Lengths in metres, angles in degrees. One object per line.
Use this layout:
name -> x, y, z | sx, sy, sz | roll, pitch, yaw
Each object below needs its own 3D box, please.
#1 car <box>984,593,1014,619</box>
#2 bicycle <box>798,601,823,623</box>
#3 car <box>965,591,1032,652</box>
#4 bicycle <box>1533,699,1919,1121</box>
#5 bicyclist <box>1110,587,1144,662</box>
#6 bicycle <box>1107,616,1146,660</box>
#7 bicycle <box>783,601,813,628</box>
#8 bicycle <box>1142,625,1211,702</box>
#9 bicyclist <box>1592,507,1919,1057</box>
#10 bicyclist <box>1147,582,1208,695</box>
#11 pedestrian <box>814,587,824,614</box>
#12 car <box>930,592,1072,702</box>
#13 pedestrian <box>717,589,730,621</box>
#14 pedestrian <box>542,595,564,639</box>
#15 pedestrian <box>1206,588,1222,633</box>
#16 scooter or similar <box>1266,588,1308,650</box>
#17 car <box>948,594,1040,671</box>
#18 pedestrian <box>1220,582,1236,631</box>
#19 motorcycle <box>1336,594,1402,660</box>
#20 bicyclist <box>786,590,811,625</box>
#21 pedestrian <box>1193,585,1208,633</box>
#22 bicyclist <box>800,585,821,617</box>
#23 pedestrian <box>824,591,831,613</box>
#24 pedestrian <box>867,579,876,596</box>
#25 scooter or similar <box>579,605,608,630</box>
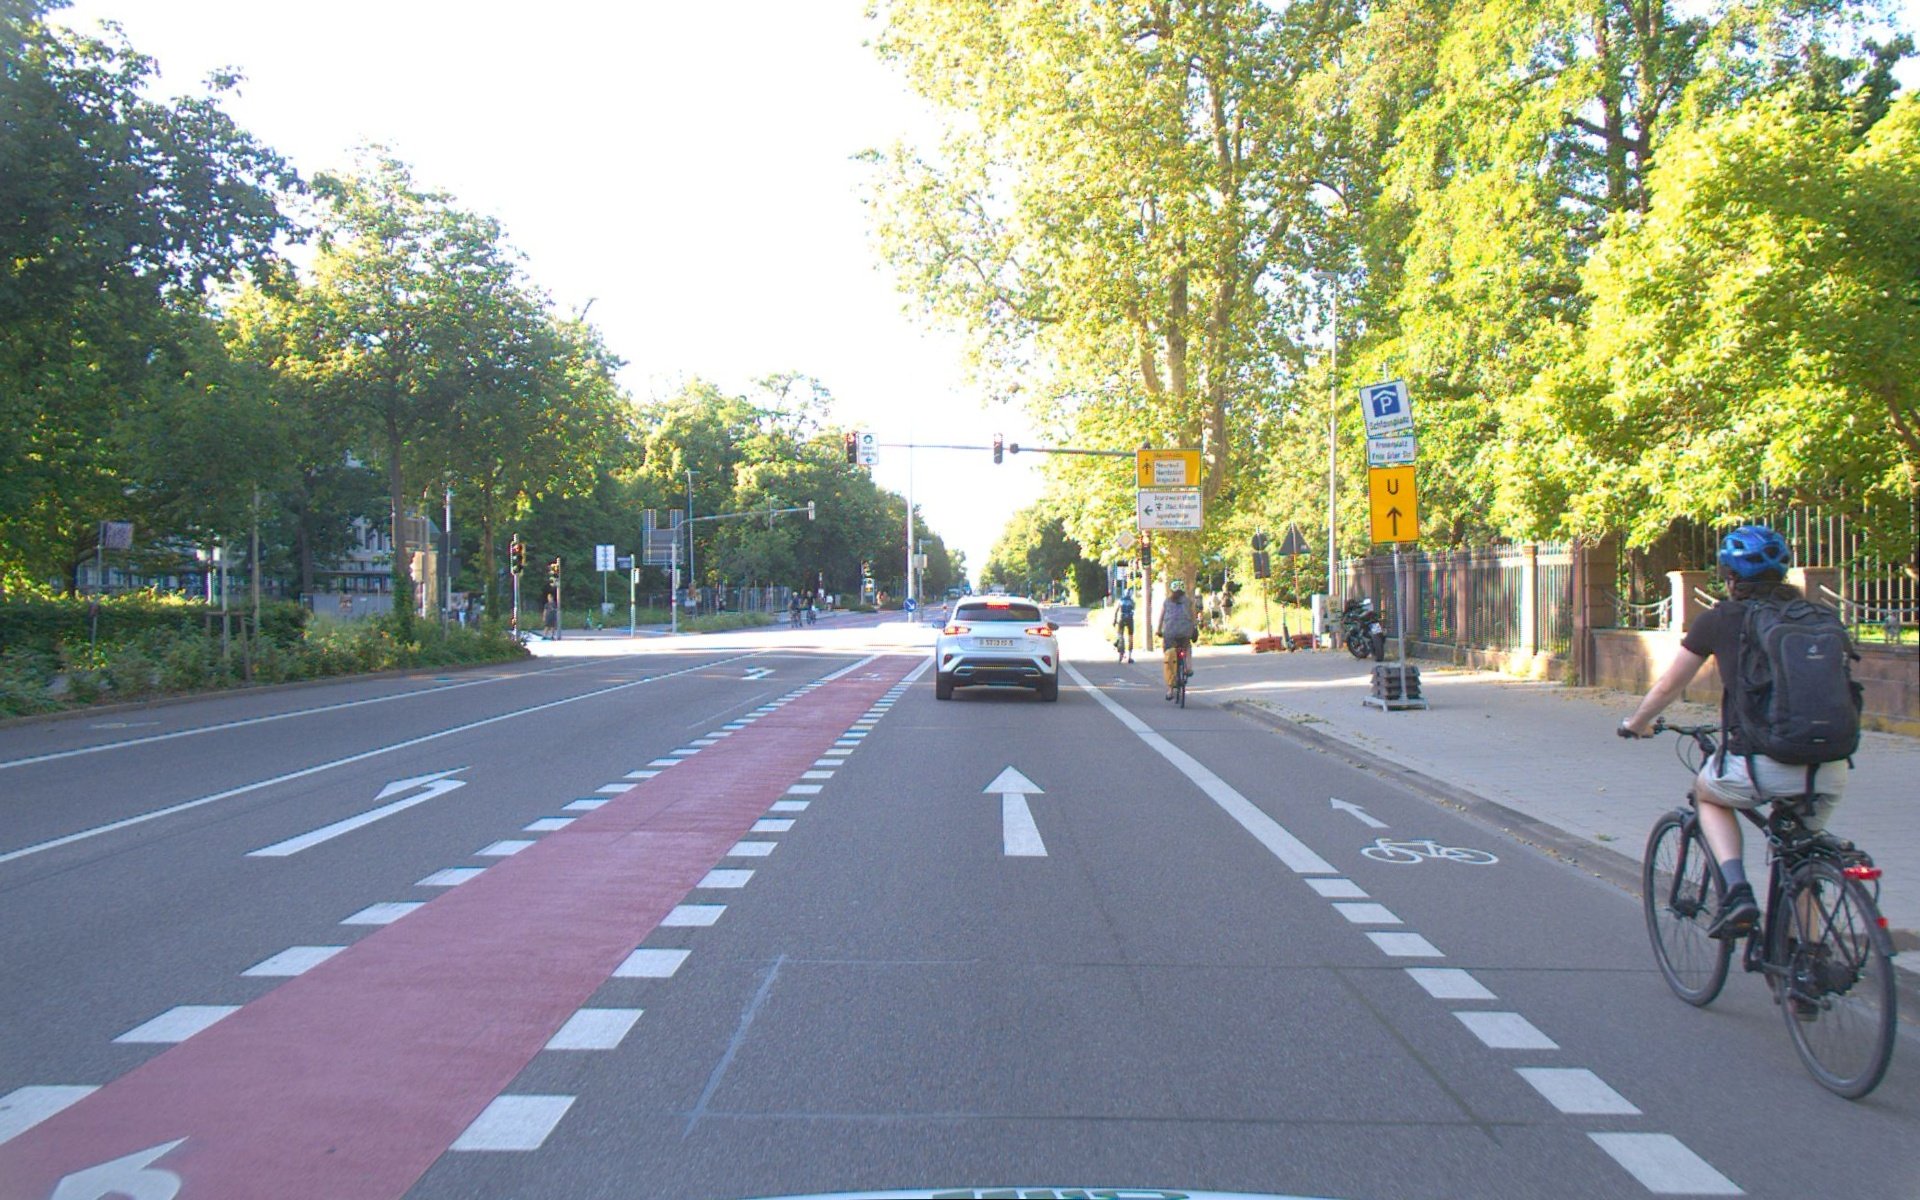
car -> 2.583, 0.374, 109.386 | 1.700, 1.573, 4.003 | -1, 1, 5
bicycle -> -8.297, 0.658, 91.895 | 0.944, 1.201, 2.952 | -2, 0, 2
car -> 1.074, 0.585, 47.818 | 1.813, 1.619, 4.000 | -2, 0, 0
bicycle -> 2.698, 0.943, 5.774 | 0.630, 1.042, 2.212 | 1, 0, 0
bicyclist -> 4.008, 0.574, 39.732 | 0.734, 1.780, 0.843 | 0, 0, 0
bicycle -> 4.006, 0.909, 39.888 | 0.737, 1.044, 1.869 | 0, -1, 0
bicycle -> -8.234, 0.732, 84.187 | 1.079, 1.277, 2.780 | -2, 0, 2
bicycle -> 3.071, 0.885, 23.587 | 0.737, 1.044, 1.869 | 0, -1, 0
bicyclist -> 2.689, 0.539, 5.582 | 0.623, 1.642, 1.284 | 0, 0, 0
bicyclist -> 3.081, 0.533, 23.493 | 0.732, 1.564, 0.969 | 0, 0, 0
pedestrian -> -10.963, 0.023, 128.823 | 0.643, 2.049, 0.832 | -1, 0, -2
car -> 0.583, 0.651, 25.209 | 1.953, 1.478, 4.000 | -2, 0, 0
pedestrian -> -14.354, 0.328, 100.298 | 0.637, 1.921, 0.663 | -1, 0, 3
pedestrian -> -17.509, 0.727, 71.160 | 0.673, 1.823, 0.769 | -4, 1, 0
pedestrian -> 9.824, 0.392, 63.948 | 0.472, 1.668, 0.432 | -4, 3, 7
scooter or similar -> 7.654, 0.423, 38.790 | 0.554, 1.407, 1.856 | -1, 0, -1
car -> 0.729, 0.677, 36.793 | 1.889, 1.560, 4.000 | -2, 0, 0
pedestrian -> 10.476, 0.254, 64.614 | 0.472, 1.823, 0.432 | -4, 3, 7
motorcycle -> 7.885, 0.494, 32.012 | 0.648, 1.188, 2.327 | -3, 0, 0
bicyclist -> -8.234, 0.374, 84.296 | 1.069, 1.785, 1.098 | -2, 0, 2
pedestrian -> 9.287, 0.348, 63.909 | 0.472, 1.823, 0.432 | -4, 3, 7
bicyclist -> -8.316, 0.046, 91.965 | 0.936, 1.735, 1.233 | -2, 0, 2
pedestrian -> -10.601, 0.166, 131.901 | 0.509, 1.735, 0.528 | -1, 0, -4
pedestrian -> -11.369, -1.635, 212.091 | 0.857, 2.187, 1.104 | -1, 0, 10
scooter or similar -> -17.771, 0.836, 80.227 | 0.500, 1.164, 1.700 | -2, 0, 22
